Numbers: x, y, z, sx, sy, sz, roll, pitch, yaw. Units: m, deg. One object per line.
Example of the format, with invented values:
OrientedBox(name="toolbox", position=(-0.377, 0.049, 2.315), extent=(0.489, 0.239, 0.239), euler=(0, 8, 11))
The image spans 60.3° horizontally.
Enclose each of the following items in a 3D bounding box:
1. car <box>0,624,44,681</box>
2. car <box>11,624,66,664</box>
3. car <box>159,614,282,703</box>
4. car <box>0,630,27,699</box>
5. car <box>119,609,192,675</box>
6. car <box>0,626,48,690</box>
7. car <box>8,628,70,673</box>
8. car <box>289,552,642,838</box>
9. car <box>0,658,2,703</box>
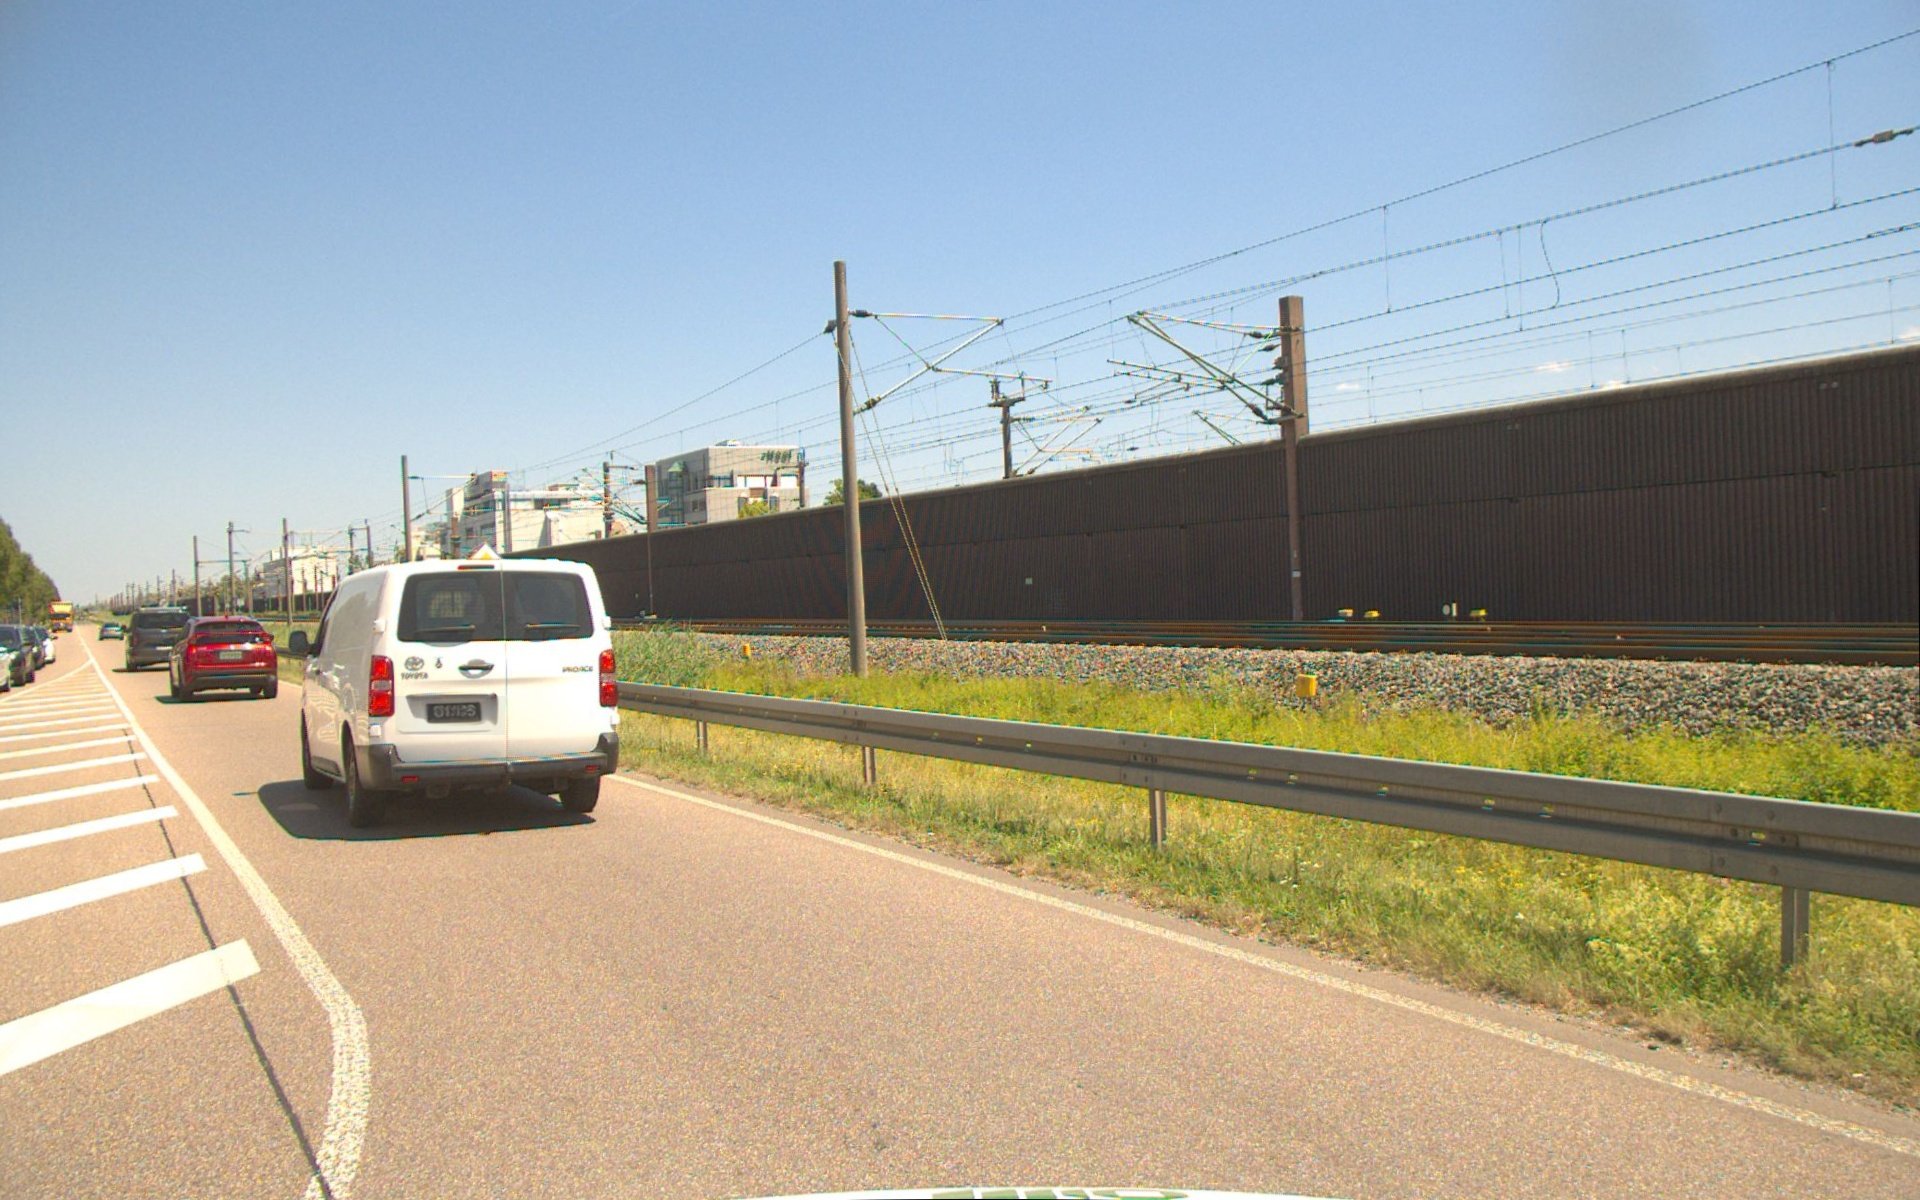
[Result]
OrientedBox(name="car", position=(-29.902, 1.617, 51.893), extent=(1.733, 1.660, 4.244), euler=(-1, 0, -25))
OrientedBox(name="car", position=(-36.207, 1.705, 65.053), extent=(1.665, 1.485, 4.576), euler=(-1, 0, -27))
OrientedBox(name="car", position=(-15.204, 1.145, 33.906), extent=(1.886, 1.678, 4.099), euler=(-1, 0, -30))
OrientedBox(name="car", position=(-23.046, 1.507, 38.756), extent=(1.632, 1.504, 4.594), euler=(-1, 0, -25))
OrientedBox(name="car", position=(-26.807, 1.358, 55.045), extent=(1.985, 2.058, 4.738), euler=(-1, 0, -28))
OrientedBox(name="car", position=(-25.975, 1.544, 44.971), extent=(1.695, 1.617, 4.498), euler=(-1, 0, -25))
OrientedBox(name="car", position=(-32.650, 1.753, 58.717), extent=(1.665, 1.485, 4.577), euler=(-1, 0, -26))
OrientedBox(name="car", position=(-4.283, 0.692, 13.708), extent=(1.923, 1.915, 4.835), euler=(0, -1, -28))
OrientedBox(name="car", position=(-19.735, 1.364, 31.943), extent=(1.603, 1.564, 4.351), euler=(-3, 1, -24))
